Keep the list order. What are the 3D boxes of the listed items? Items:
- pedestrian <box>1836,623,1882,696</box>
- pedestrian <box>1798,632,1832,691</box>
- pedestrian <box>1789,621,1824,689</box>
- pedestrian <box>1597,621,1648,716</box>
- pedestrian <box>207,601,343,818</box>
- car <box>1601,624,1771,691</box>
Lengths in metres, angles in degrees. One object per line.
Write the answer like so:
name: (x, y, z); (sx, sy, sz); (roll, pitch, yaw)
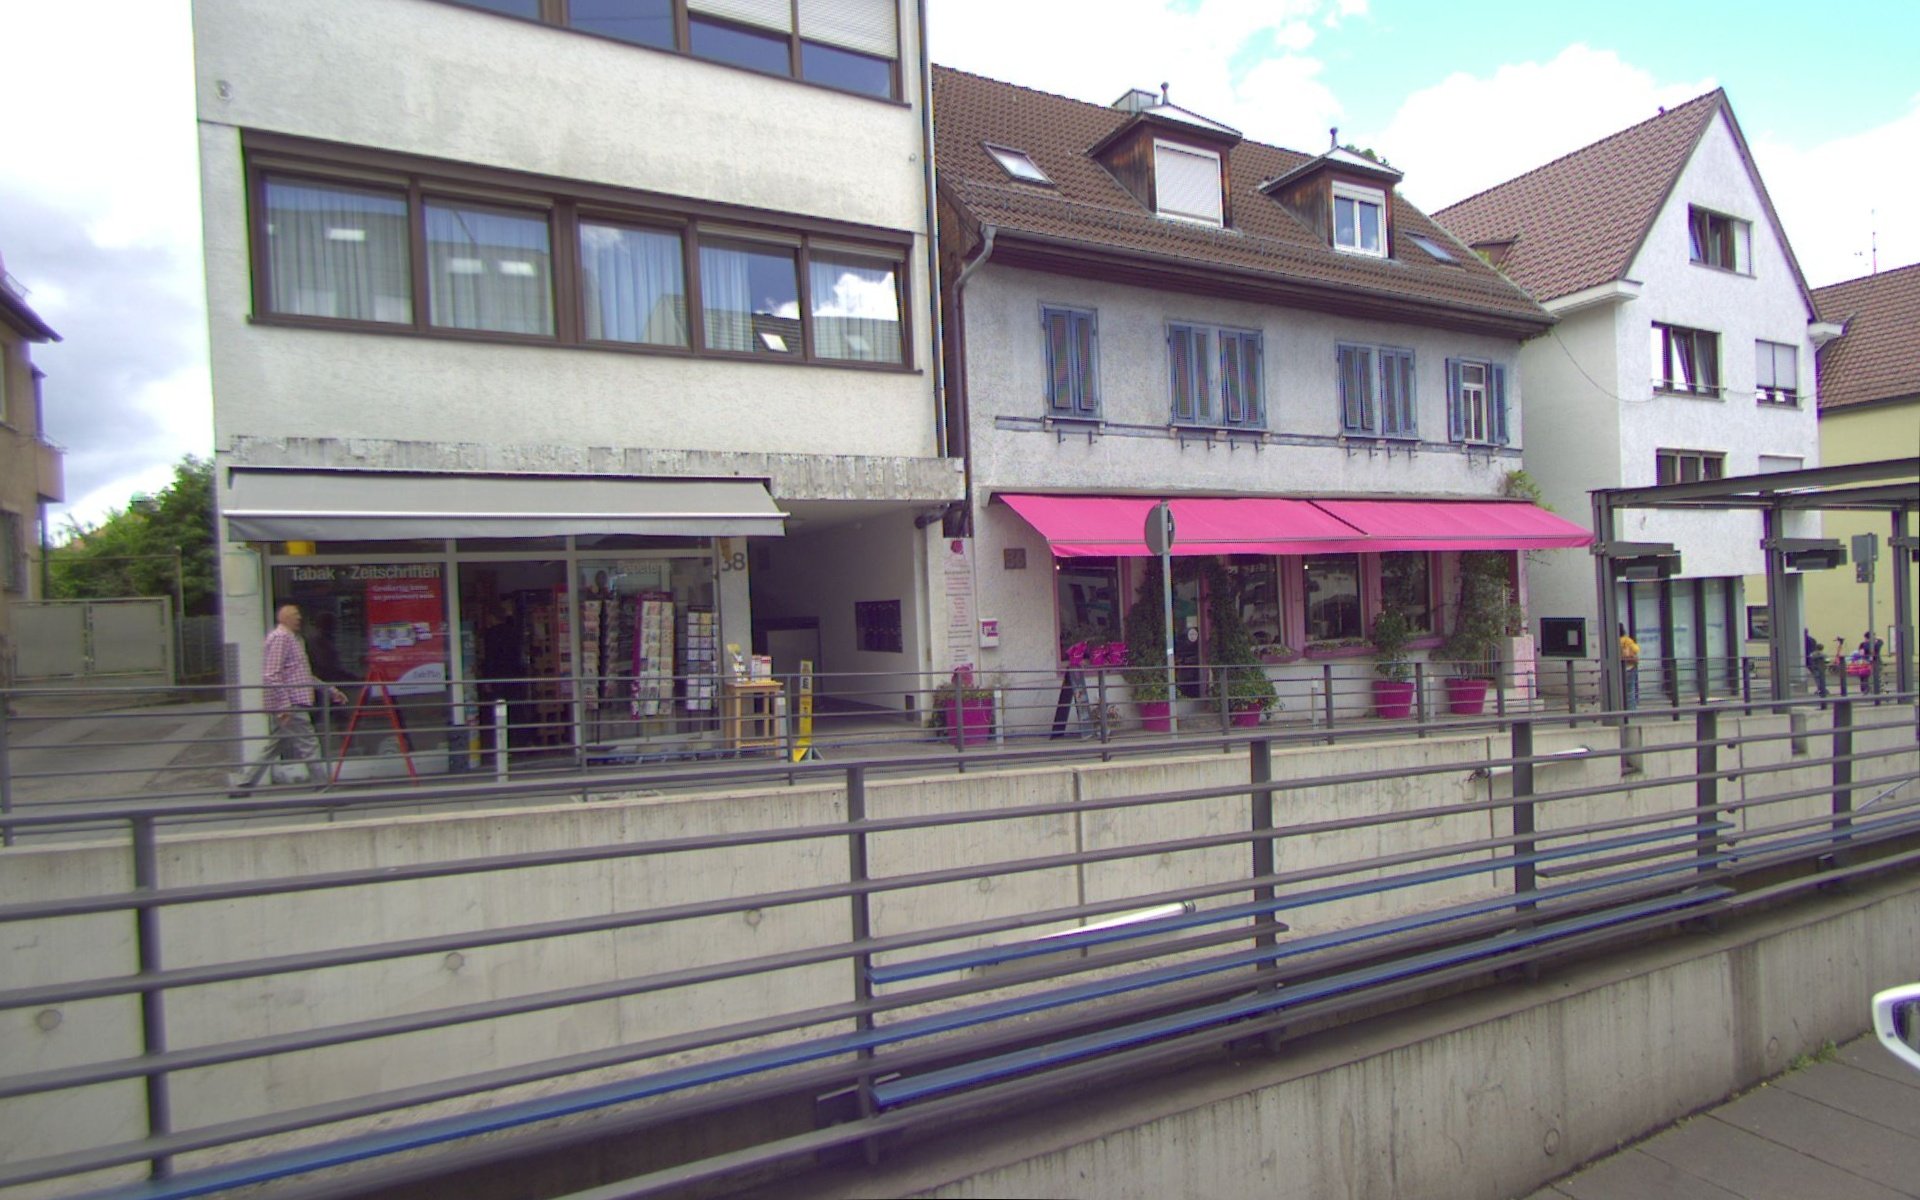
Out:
pedestrian: (21.667, 1.425, 24.214); (0.671, 1.711, 0.622); (1, 1, -30)
pedestrian: (21.302, 1.524, 25.020); (0.527, 1.440, 0.455); (1, 1, -27)
pedestrian: (21.743, 1.403, 25.814); (0.559, 1.711, 0.606); (1, 1, -44)
pedestrian: (12.345, 1.258, 18.730); (0.570, 1.711, 0.575); (1, 1, -30)
pedestrian: (-5.678, 0.876, 8.375); (0.816, 1.711, 0.637); (1, -2, -25)
car: (23.200, 1.773, 32.317); (1.805, 1.754, 4.178); (1, 2, -16)
